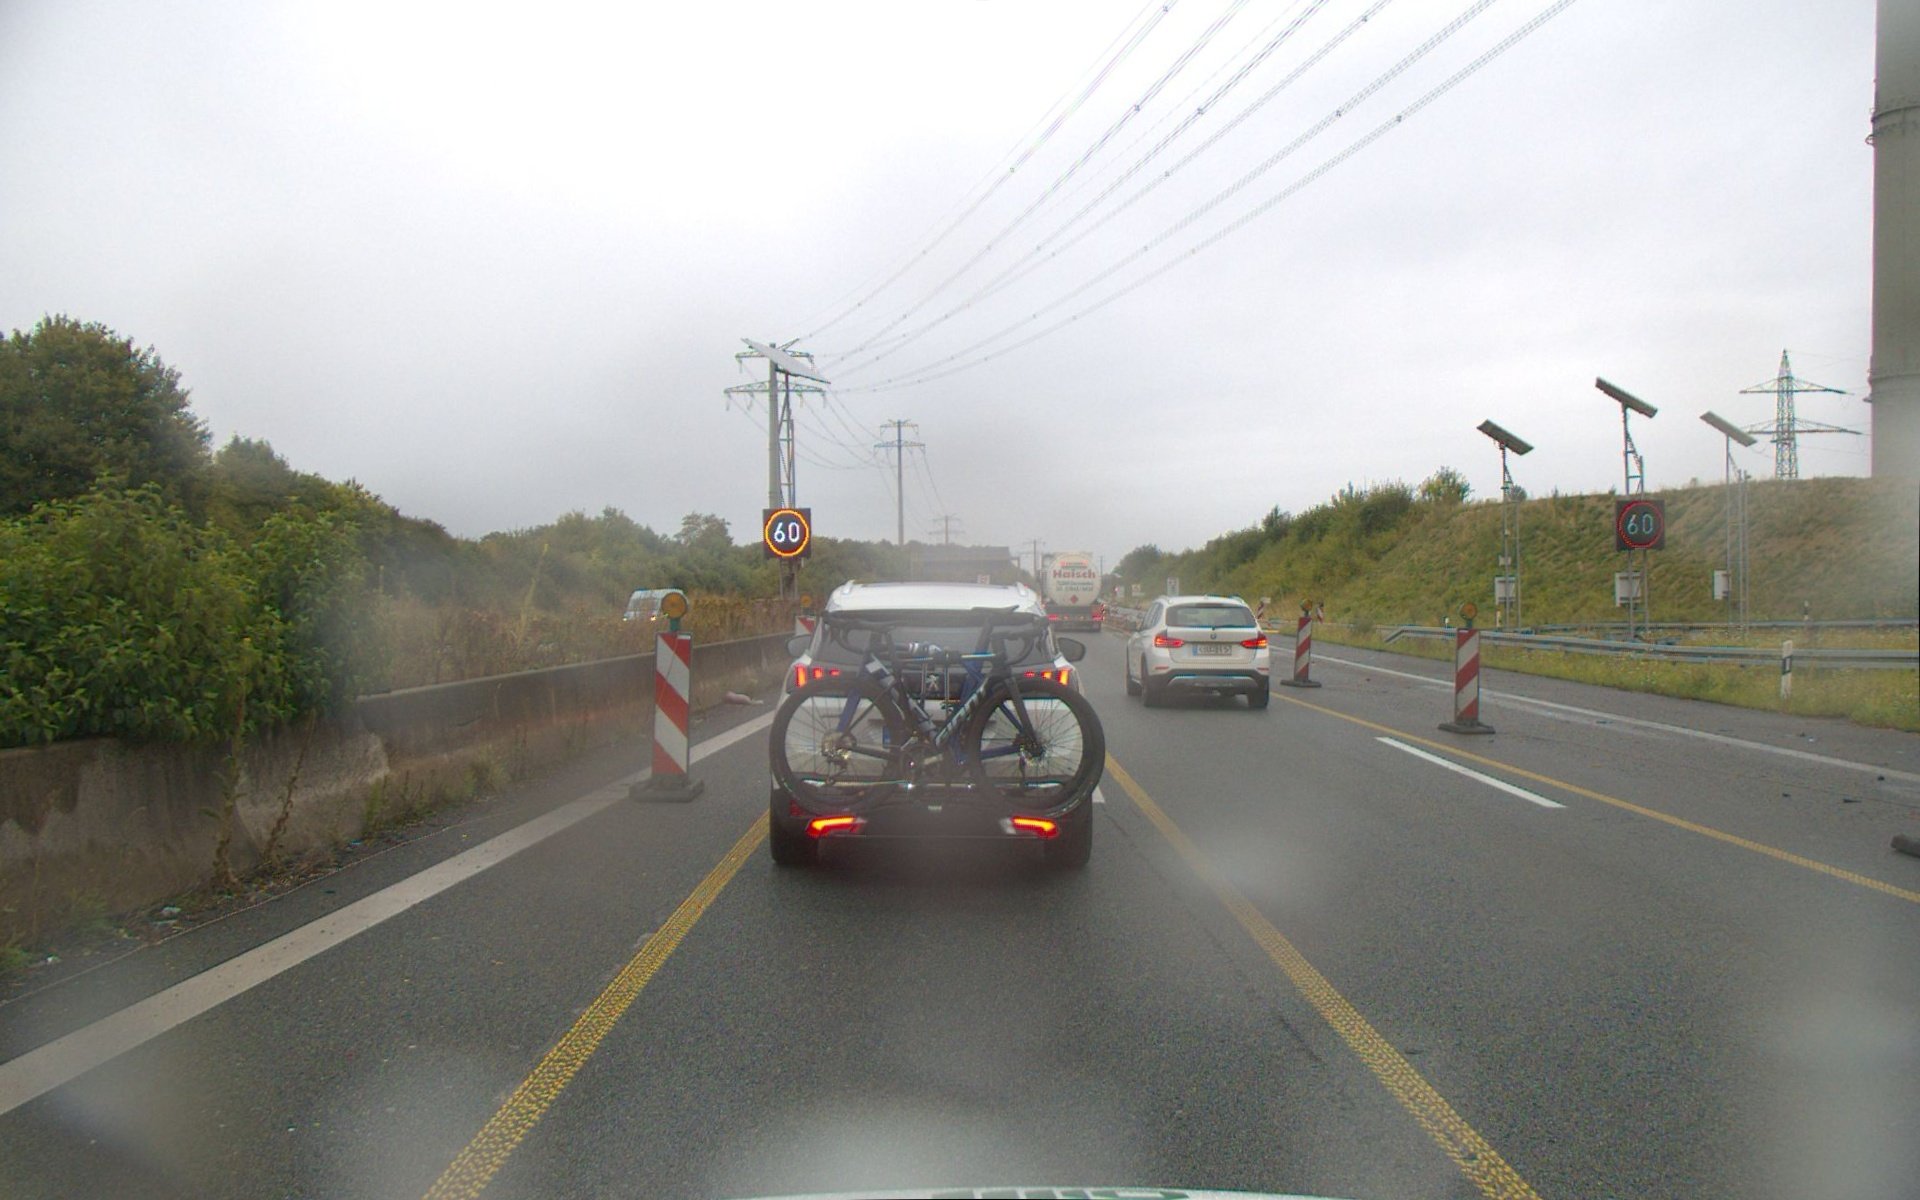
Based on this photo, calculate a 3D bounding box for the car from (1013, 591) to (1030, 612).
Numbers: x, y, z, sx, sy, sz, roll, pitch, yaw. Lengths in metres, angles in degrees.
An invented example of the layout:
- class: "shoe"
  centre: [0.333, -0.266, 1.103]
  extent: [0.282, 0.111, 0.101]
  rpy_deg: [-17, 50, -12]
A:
- class: "car"
  centre: [6.166, 0.129, 166.606]
  extent: [1.619, 2.049, 4.002]
  rpy_deg: [0, 0, 3]

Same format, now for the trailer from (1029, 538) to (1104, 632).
- class: "trailer"
  centre: [4.784, -0.604, 76.054]
  extent: [2.584, 3.961, 10.541]
  rpy_deg: [1, -1, -1]

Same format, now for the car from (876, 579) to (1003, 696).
- class: "car"
  centre: [-0.292, 0.569, 27.937]
  extent: [1.952, 1.791, 4.000]
  rpy_deg: [-1, 0, 1]

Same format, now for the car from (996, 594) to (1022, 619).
- class: "car"
  centre: [3.963, 0.538, 135.193]
  extent: [1.953, 2.049, 3.999]
  rpy_deg: [1, -1, -1]

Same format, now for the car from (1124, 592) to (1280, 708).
- class: "car"
  centre: [3.461, 0.670, 24.325]
  extent: [1.831, 1.561, 4.198]
  rpy_deg: [0, 0, 2]

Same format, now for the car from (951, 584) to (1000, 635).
- class: "car"
  centre: [0.639, 0.378, 69.948]
  extent: [1.953, 2.049, 3.999]
  rpy_deg: [-1, 0, -1]

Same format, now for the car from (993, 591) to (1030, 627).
- class: "car"
  centre: [3.003, 0.561, 97.316]
  extent: [1.953, 2.049, 3.999]
  rpy_deg: [1, -1, -1]

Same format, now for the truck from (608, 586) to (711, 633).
- class: "truck"
  centre: [-16.960, 0.506, 93.761]
  extent: [1.957, 2.470, 6.418]
  rpy_deg: [-1, 1, 32]

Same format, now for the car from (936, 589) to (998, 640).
- class: "car"
  centre: [0.197, 0.447, 54.470]
  extent: [1.953, 1.611, 3.999]
  rpy_deg: [0, 0, -1]

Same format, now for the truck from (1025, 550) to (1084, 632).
- class: "truck"
  centre: [4.693, -0.426, 82.591]
  extent: [2.591, 3.959, 4.029]
  rpy_deg: [1, -1, -1]

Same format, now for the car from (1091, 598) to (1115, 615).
- class: "car"
  centre: [10.864, 0.508, 125.743]
  extent: [1.452, 1.181, 3.906]
  rpy_deg: [-1, 1, -1]

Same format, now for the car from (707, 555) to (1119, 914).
- class: "car"
  centre: [-0.157, 0.611, 9.925]
  extent: [1.888, 1.639, 4.596]
  rpy_deg: [0, 0, 1]
